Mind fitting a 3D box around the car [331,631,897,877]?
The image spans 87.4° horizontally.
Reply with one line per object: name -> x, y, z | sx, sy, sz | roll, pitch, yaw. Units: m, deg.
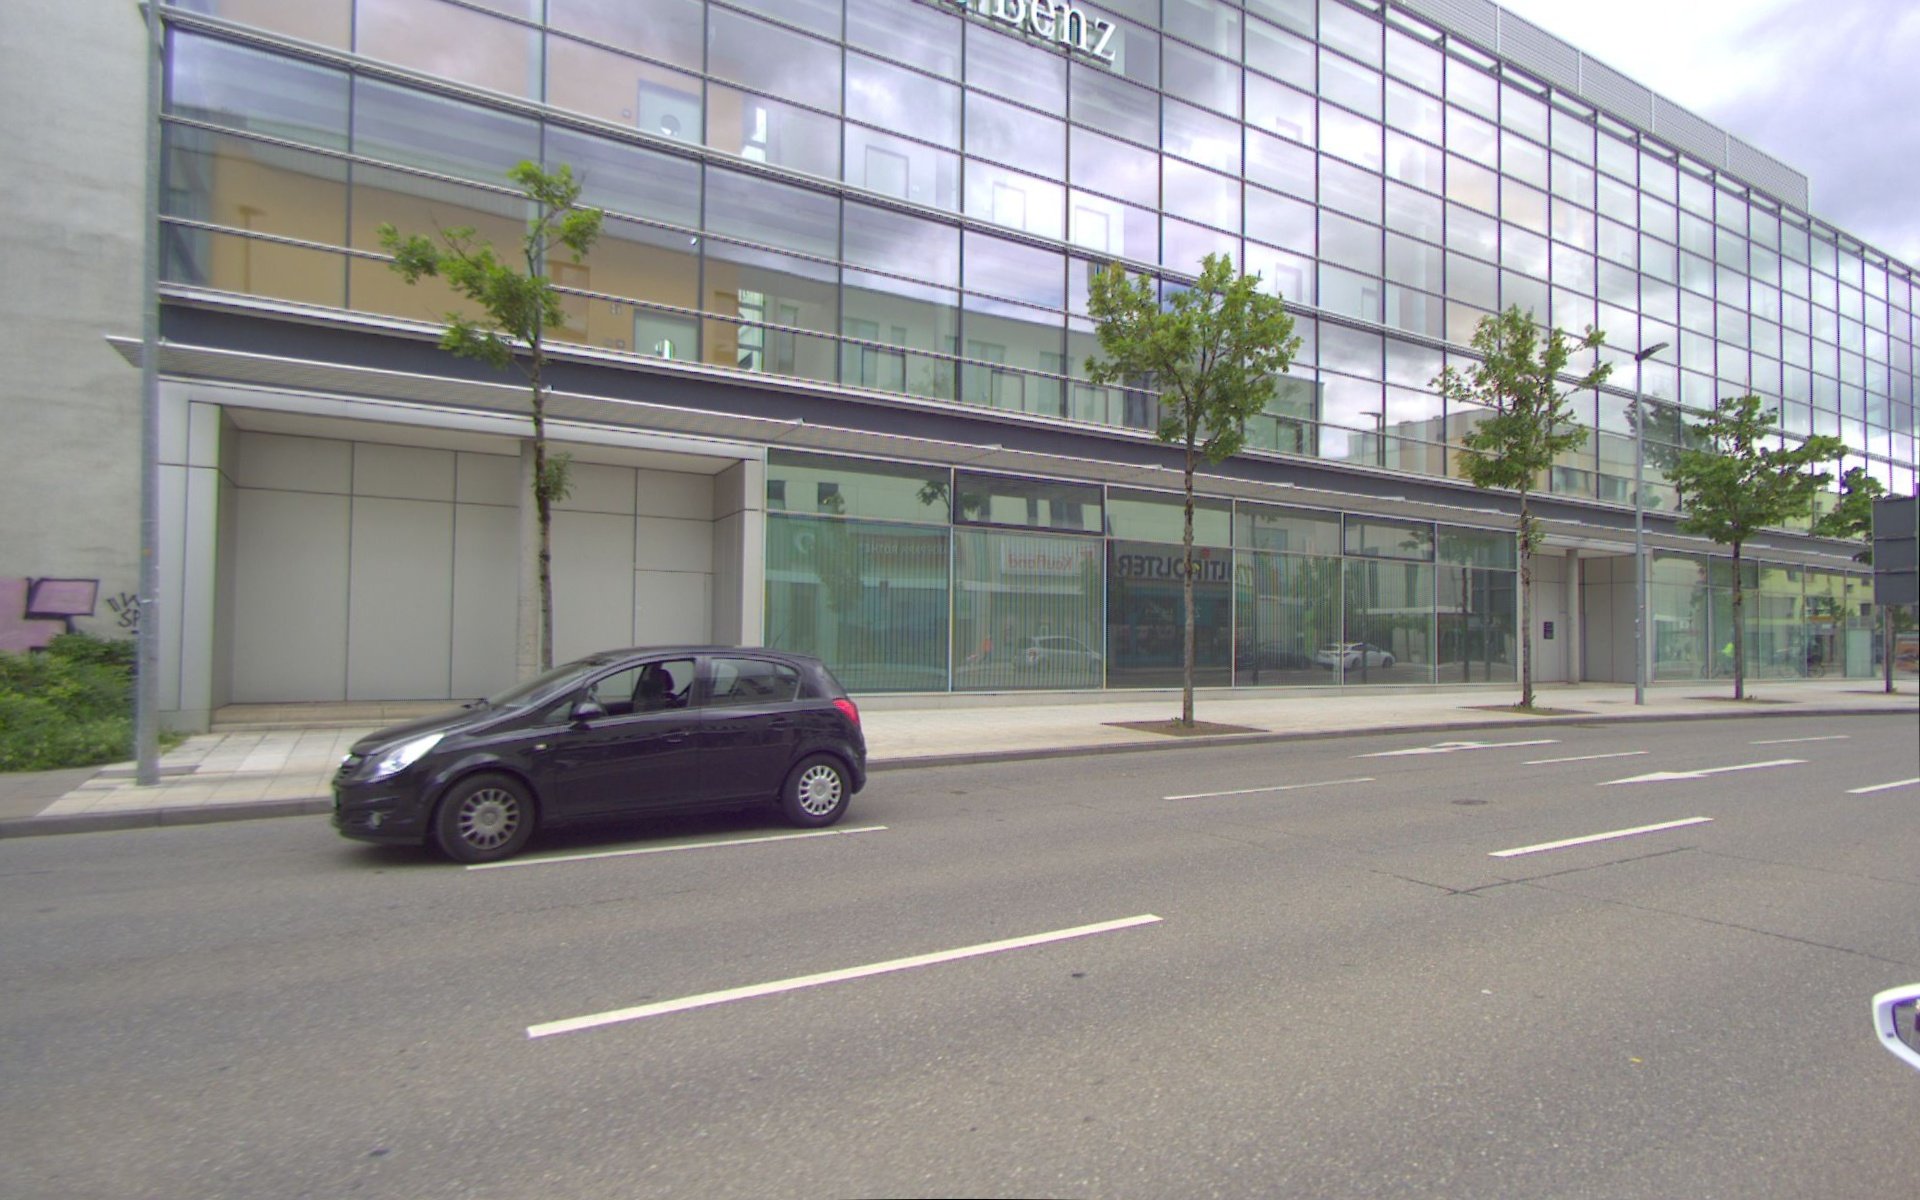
car -> -2.614, 1.026, 7.993 | 3.961, 1.499, 1.649 | 2, -3, -35
